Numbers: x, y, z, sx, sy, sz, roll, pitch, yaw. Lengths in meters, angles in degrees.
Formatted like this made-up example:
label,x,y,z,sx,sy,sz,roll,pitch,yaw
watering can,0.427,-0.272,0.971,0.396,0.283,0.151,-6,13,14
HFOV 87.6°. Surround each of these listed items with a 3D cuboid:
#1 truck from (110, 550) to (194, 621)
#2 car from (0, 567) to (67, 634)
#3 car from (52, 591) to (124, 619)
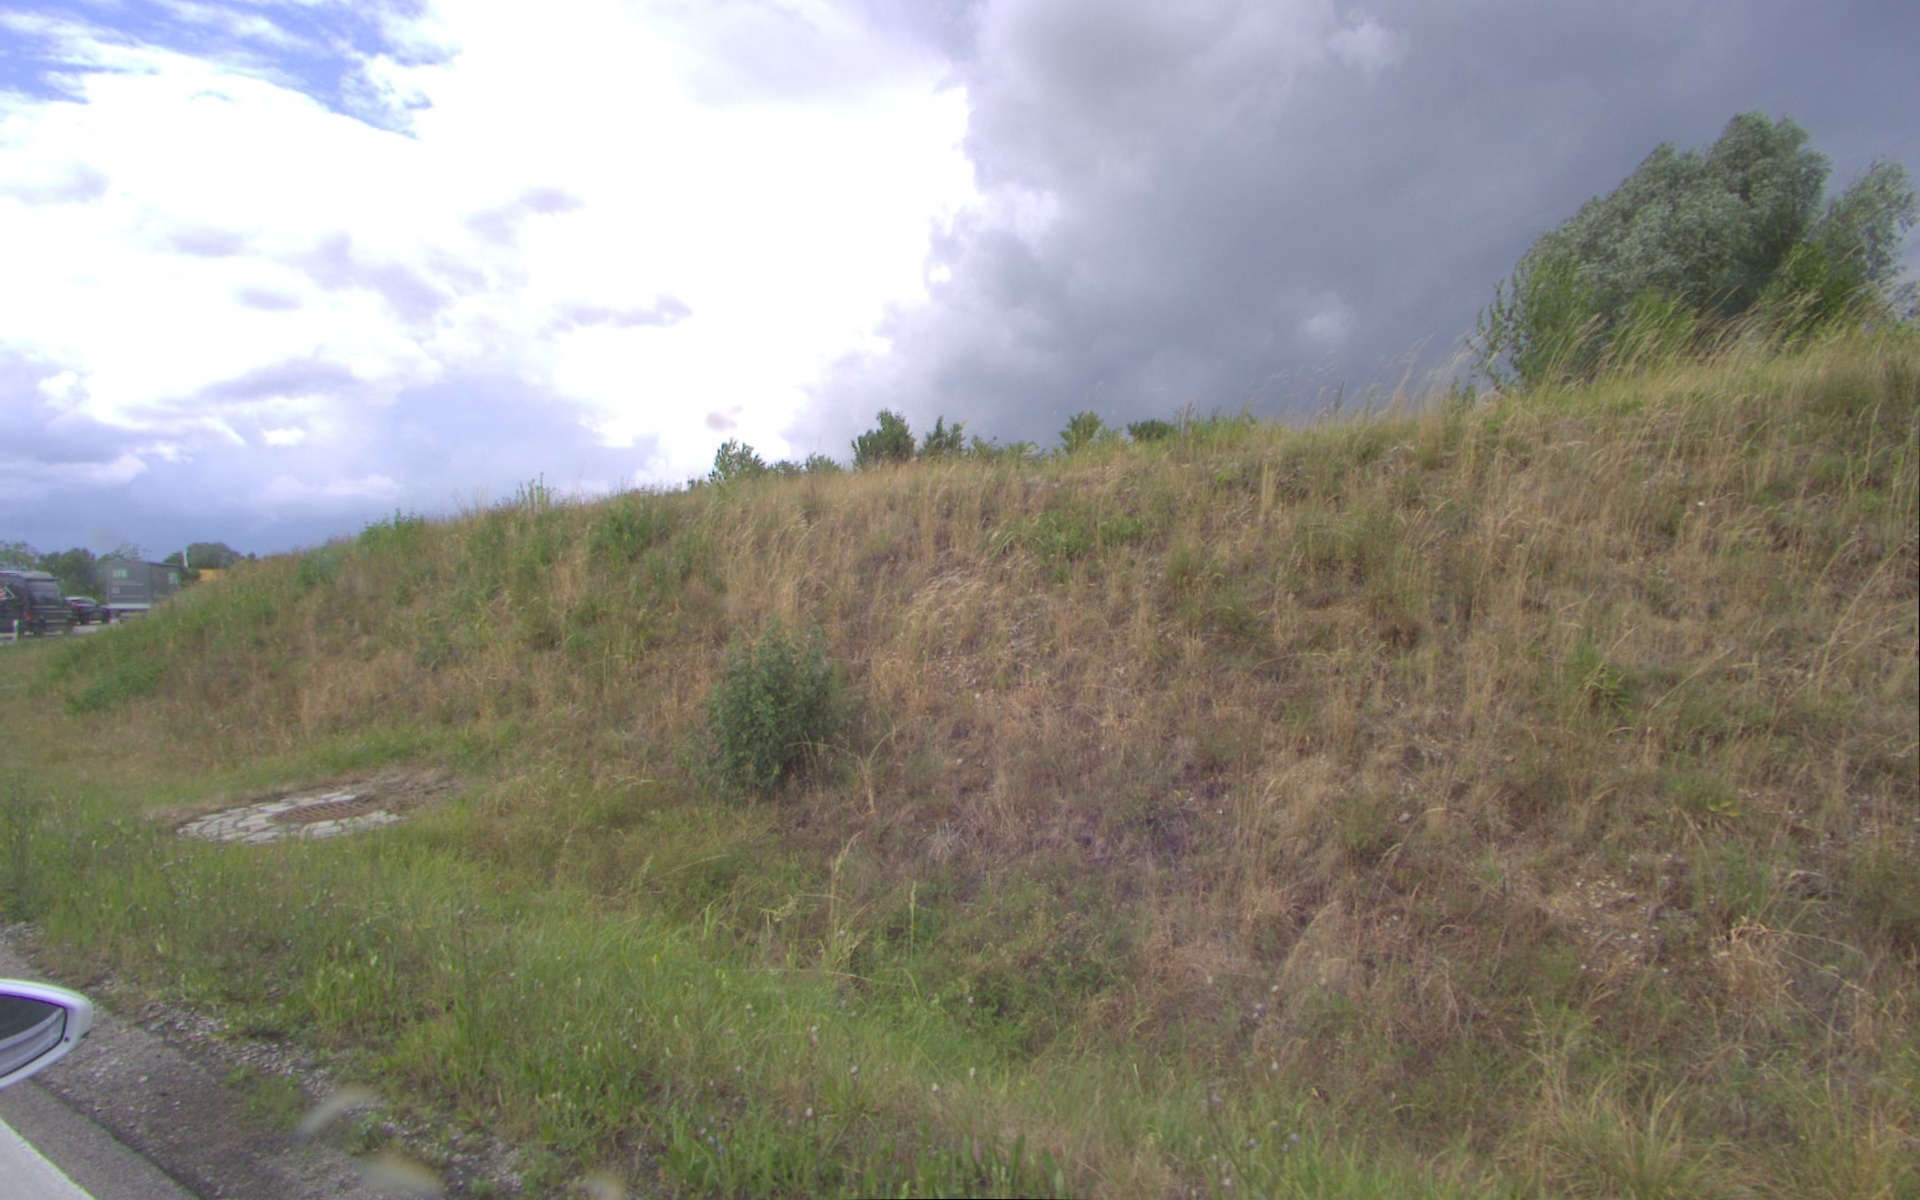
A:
label,x,y,z,sx,sy,sz,roll,pitch,yaw
truck,-49.201,-0.780,61.164,2.198,3.956,6.002,0,-2,-21
car,-41.846,0.061,44.590,2.079,2.832,3.984,1,-1,-26
car,-52.182,0.333,59.992,1.809,1.586,4.485,0,-1,-21
